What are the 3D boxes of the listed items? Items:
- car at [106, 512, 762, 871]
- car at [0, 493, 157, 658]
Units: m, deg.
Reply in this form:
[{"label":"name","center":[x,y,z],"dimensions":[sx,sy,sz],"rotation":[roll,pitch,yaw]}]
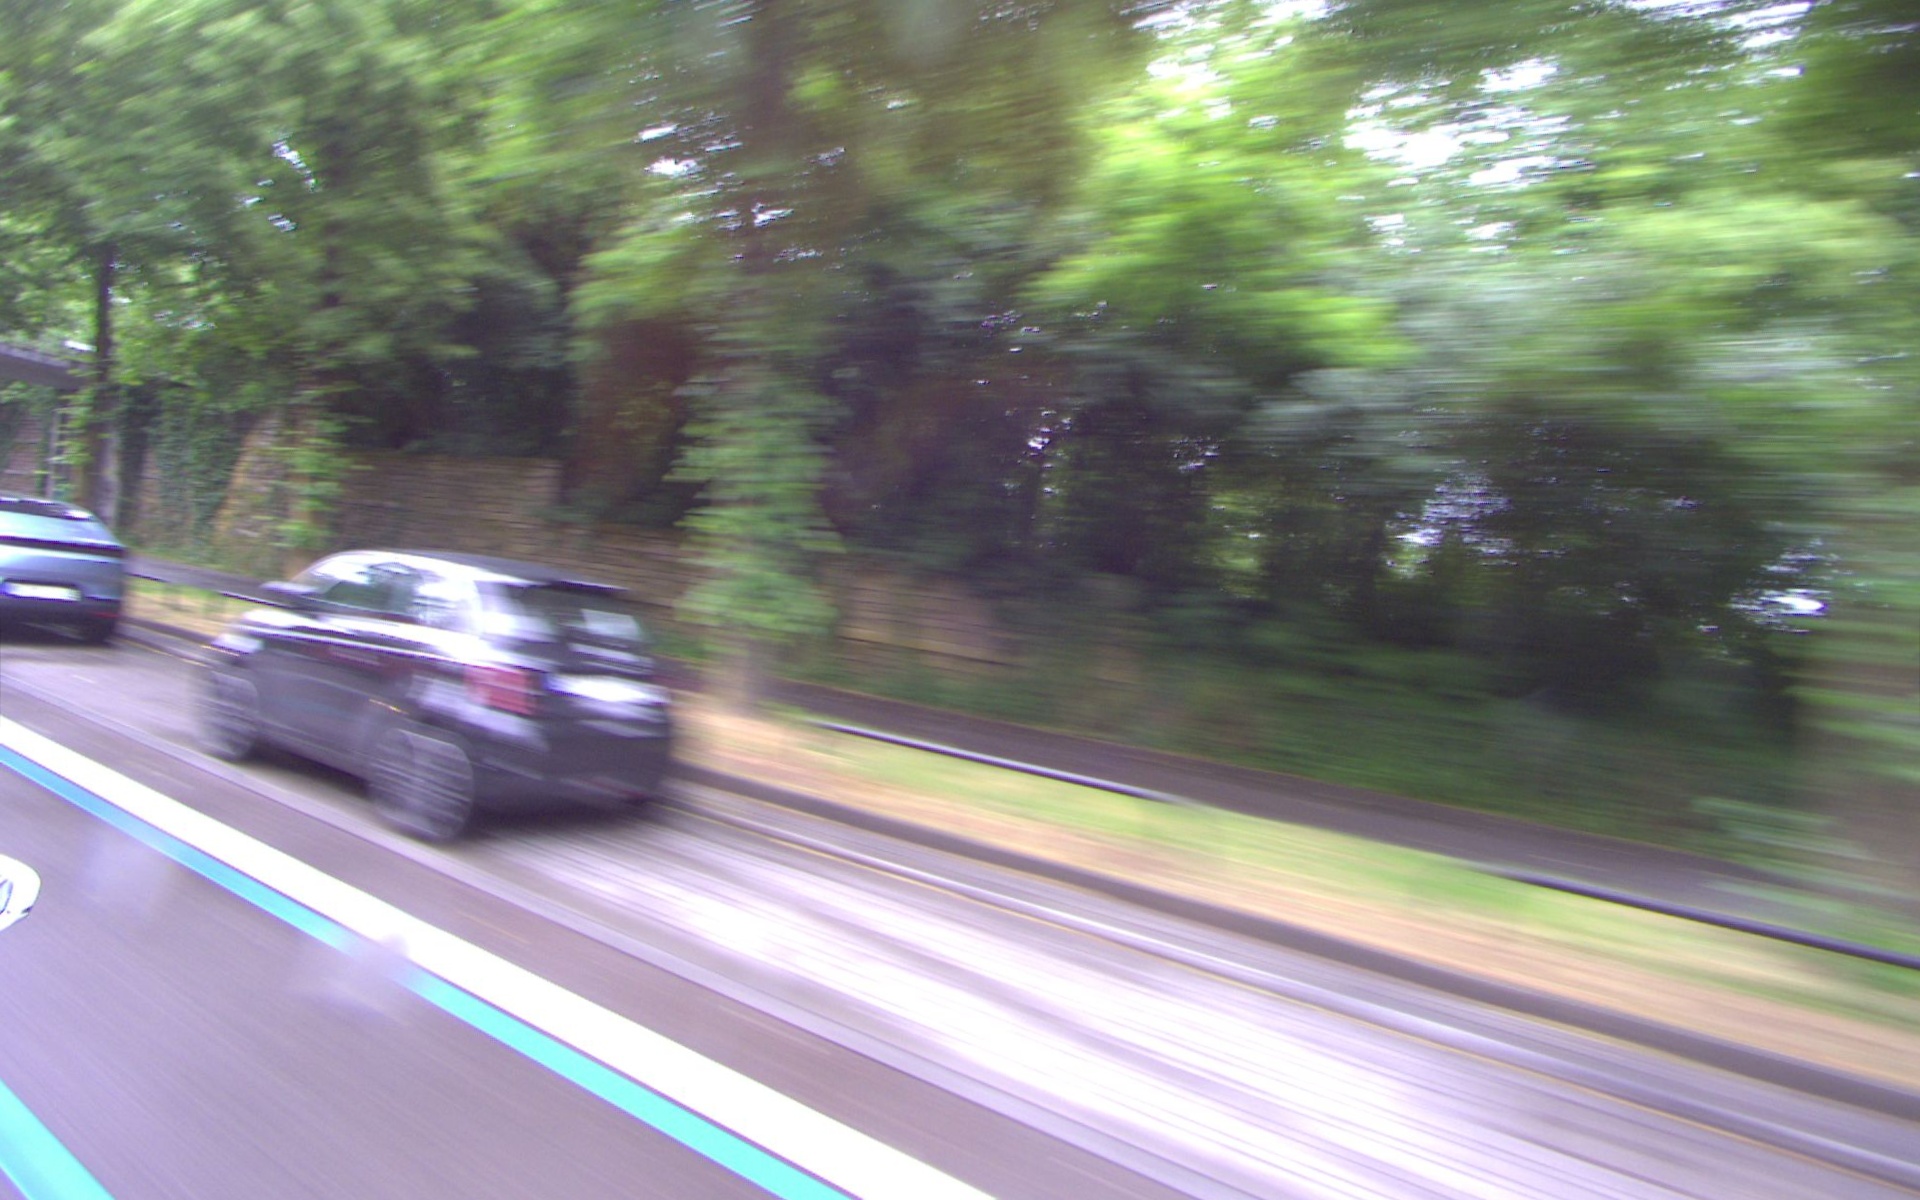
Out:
[{"label":"car","center":[-3.732,0.414,6.885],"dimensions":[4.495,1.521,1.828],"rotation":[7,0,31]},{"label":"car","center":[-11.317,-0.492,11.262],"dimensions":[4.674,1.565,1.904],"rotation":[7,-2,29]}]
